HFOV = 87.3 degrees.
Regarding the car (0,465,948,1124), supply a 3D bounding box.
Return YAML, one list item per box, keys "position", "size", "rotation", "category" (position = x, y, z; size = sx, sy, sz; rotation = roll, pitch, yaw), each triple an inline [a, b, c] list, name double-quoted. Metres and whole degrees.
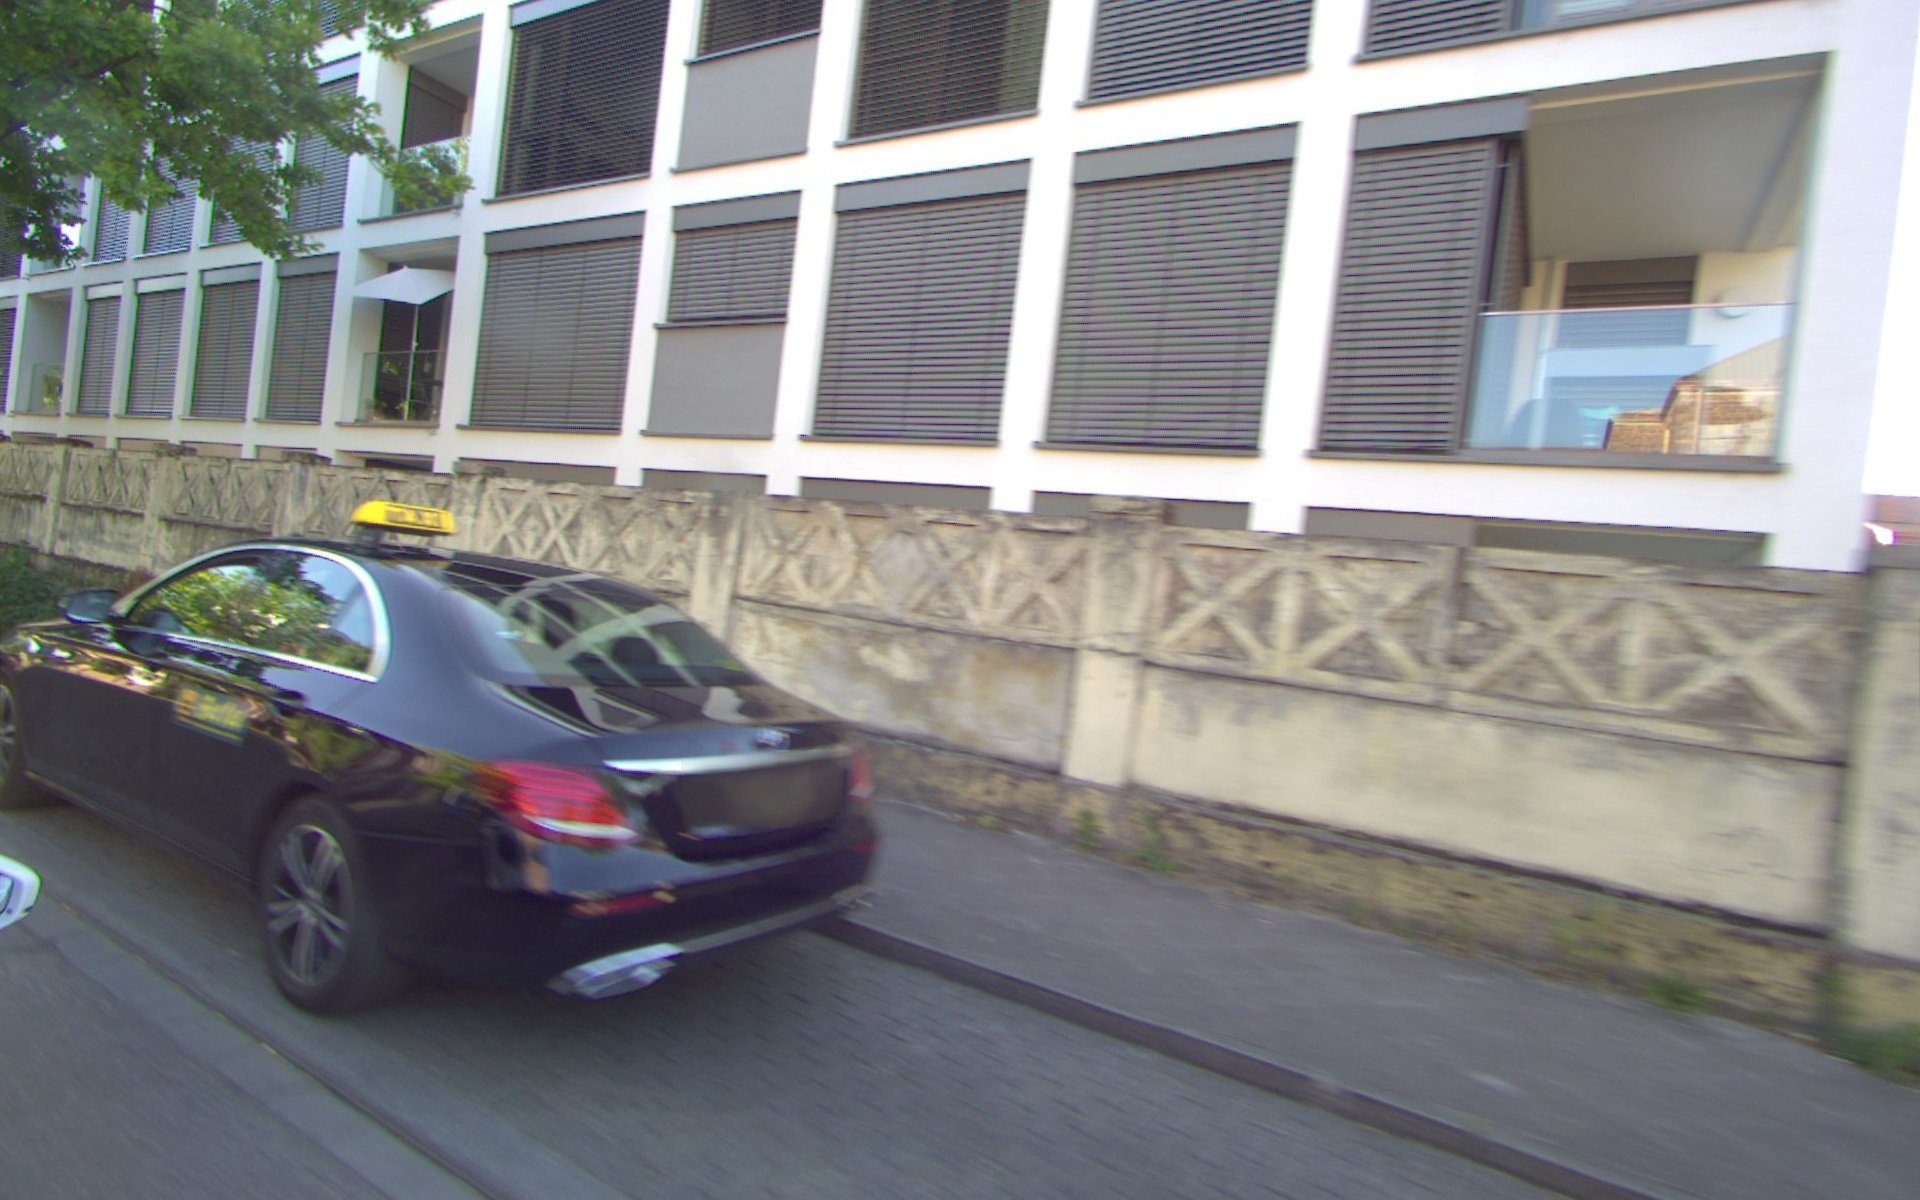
- position: [-2.552, 0.362, 4.397]
  size: [4.683, 1.428, 1.722]
  rotation: [8, 0, 32]
  category: "car"
